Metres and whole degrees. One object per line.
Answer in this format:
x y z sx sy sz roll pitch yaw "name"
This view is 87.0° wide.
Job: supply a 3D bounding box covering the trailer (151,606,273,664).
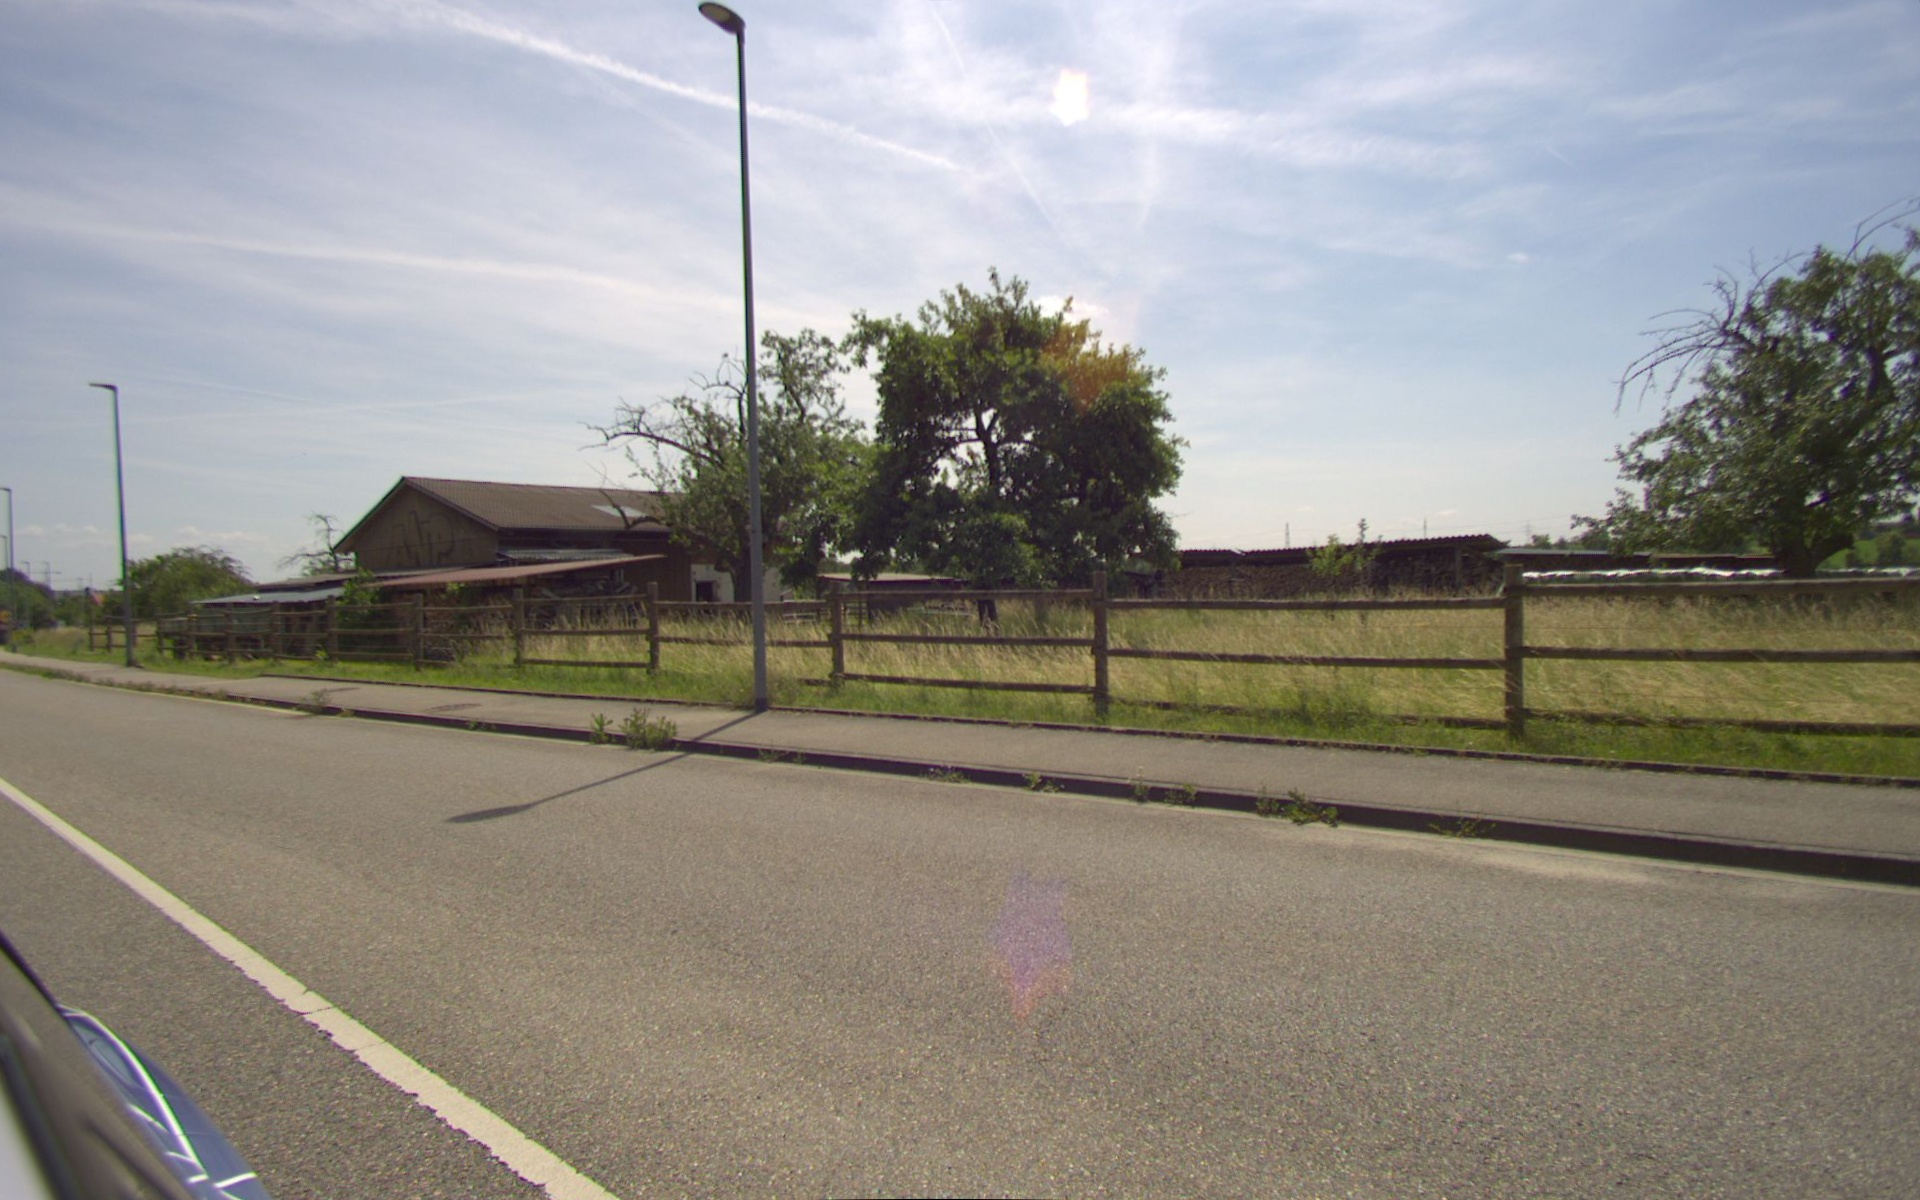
-24.332 1.112 32.870 5.026 1.716 2.133 -2 -1 41 "trailer"
